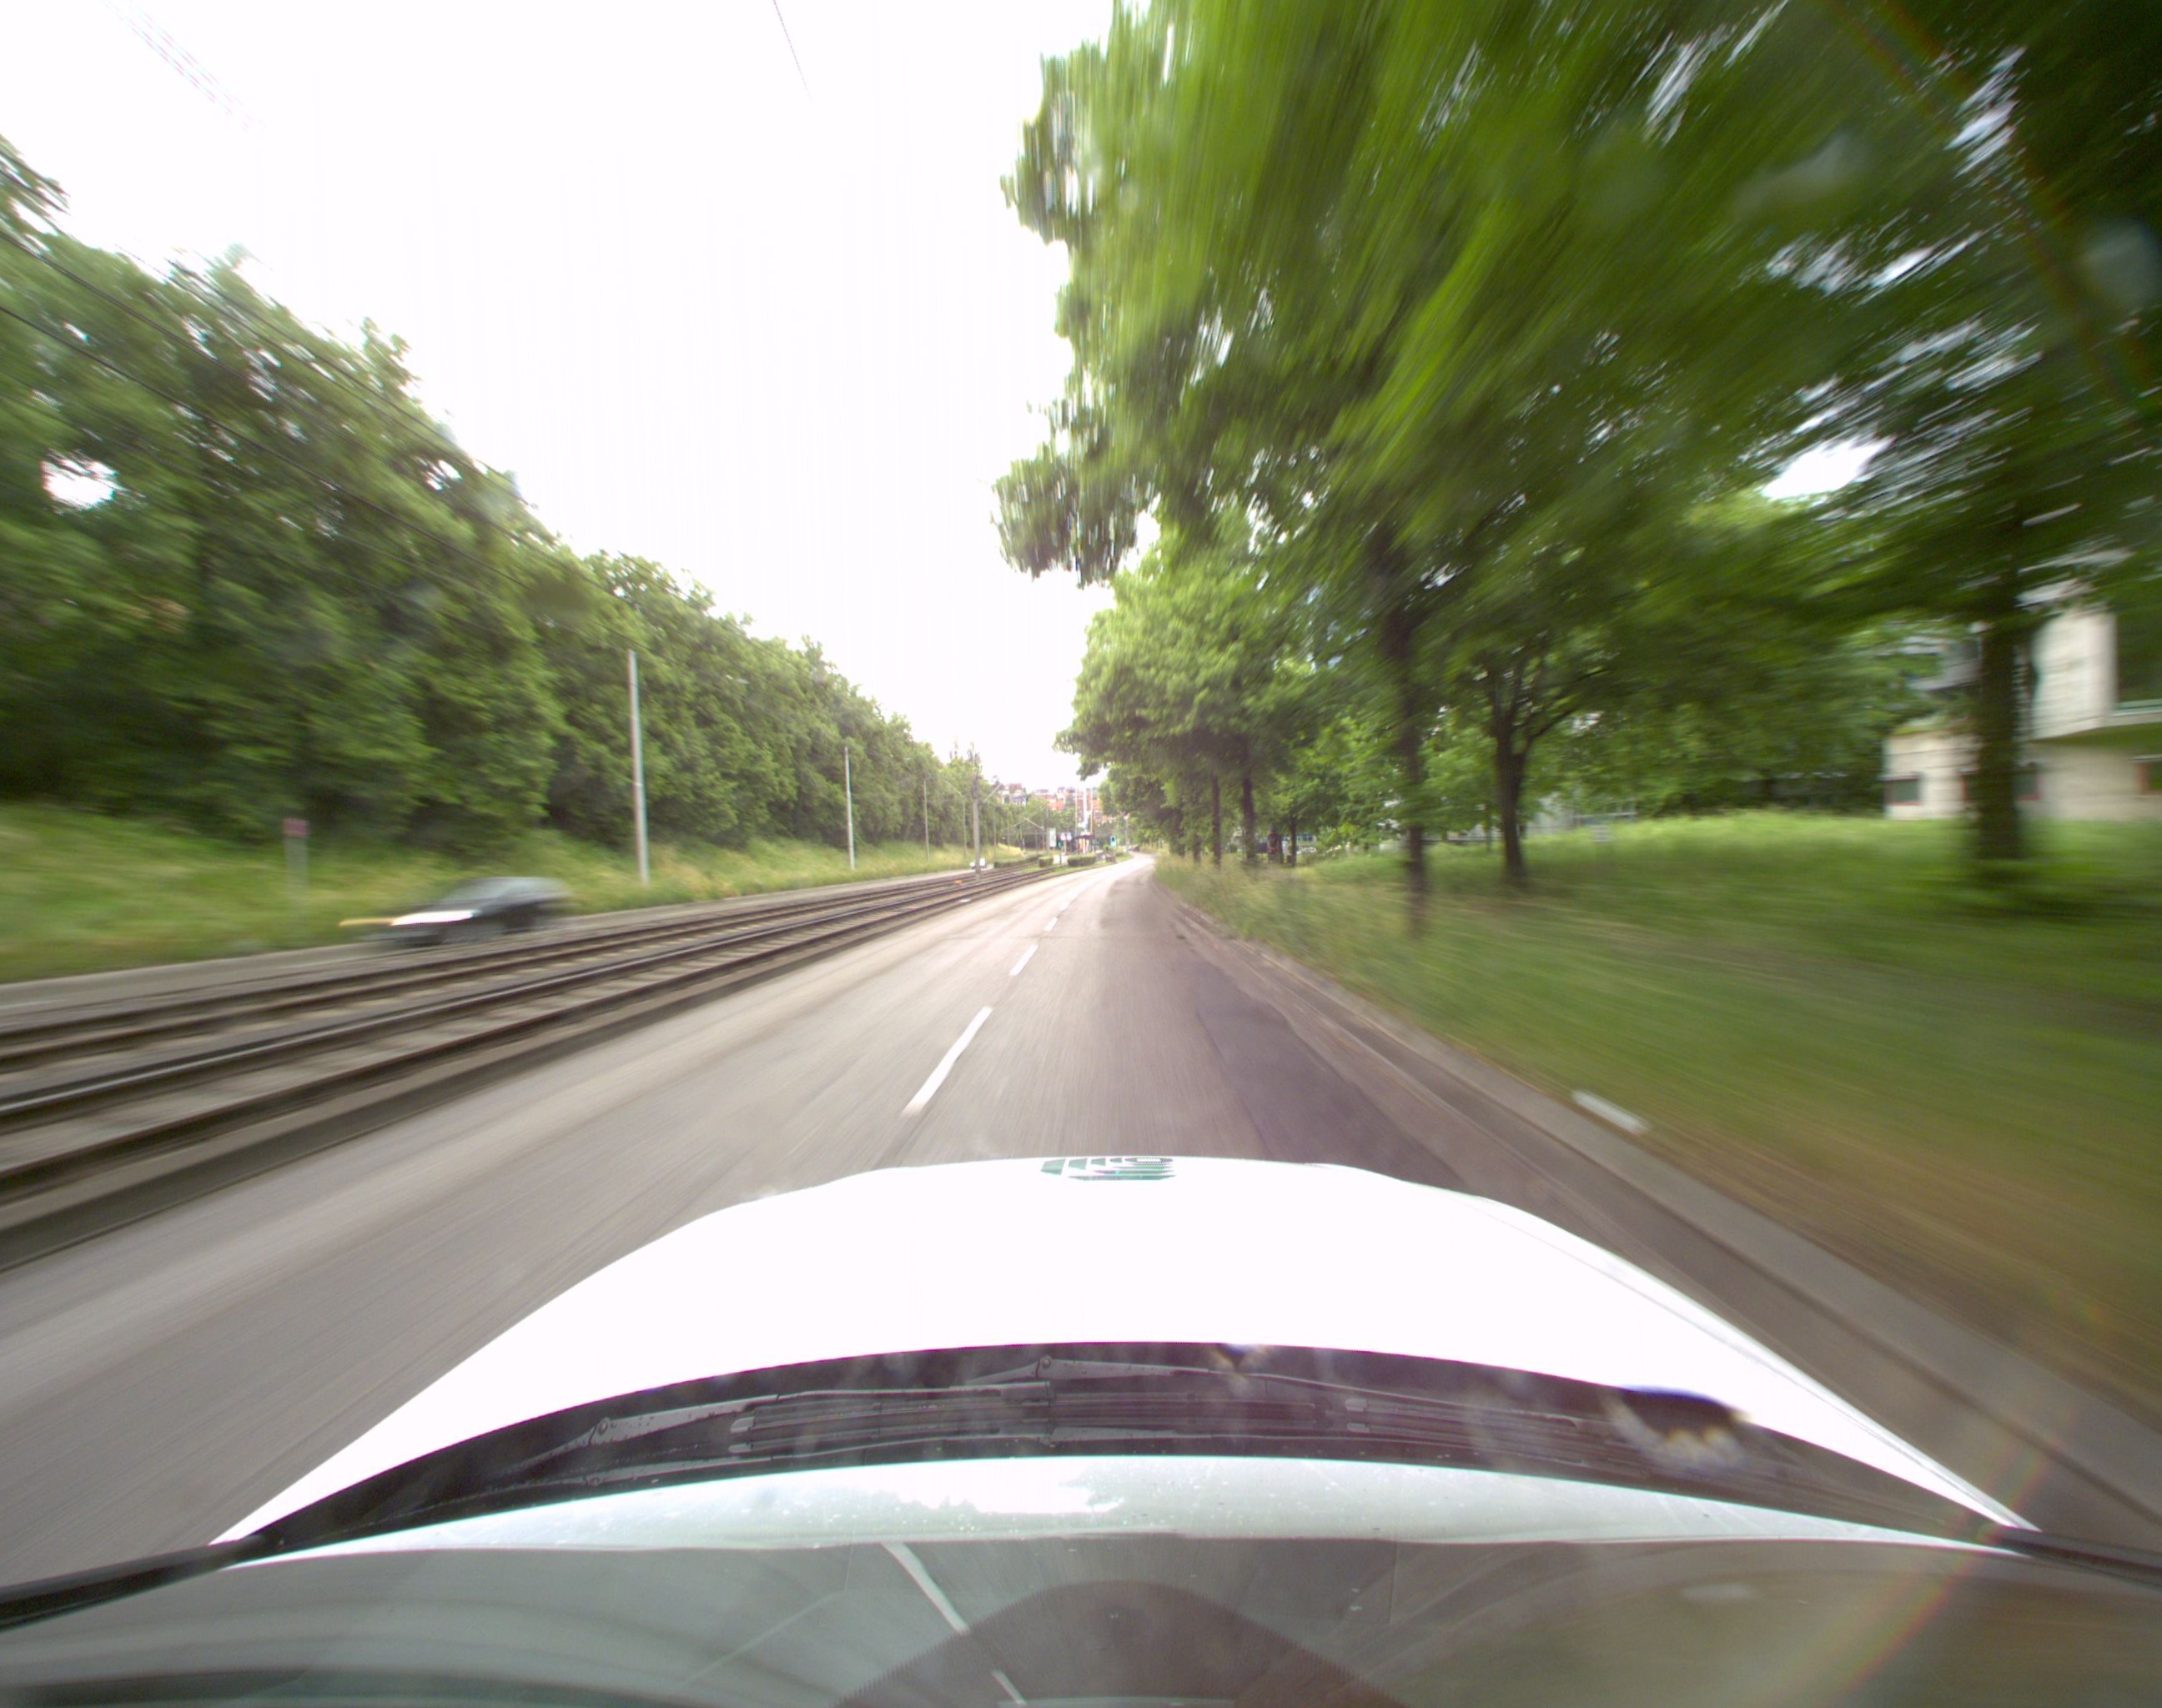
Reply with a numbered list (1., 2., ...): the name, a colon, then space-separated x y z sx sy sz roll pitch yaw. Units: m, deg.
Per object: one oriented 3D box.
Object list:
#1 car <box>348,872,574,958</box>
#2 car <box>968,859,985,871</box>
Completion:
1. car: -13.108 1.208 17.595 1.664 1.443 4.027 -4 0 1
2. car: -14.662 1.492 114.386 1.779 1.552 3.960 -3 0 -1
